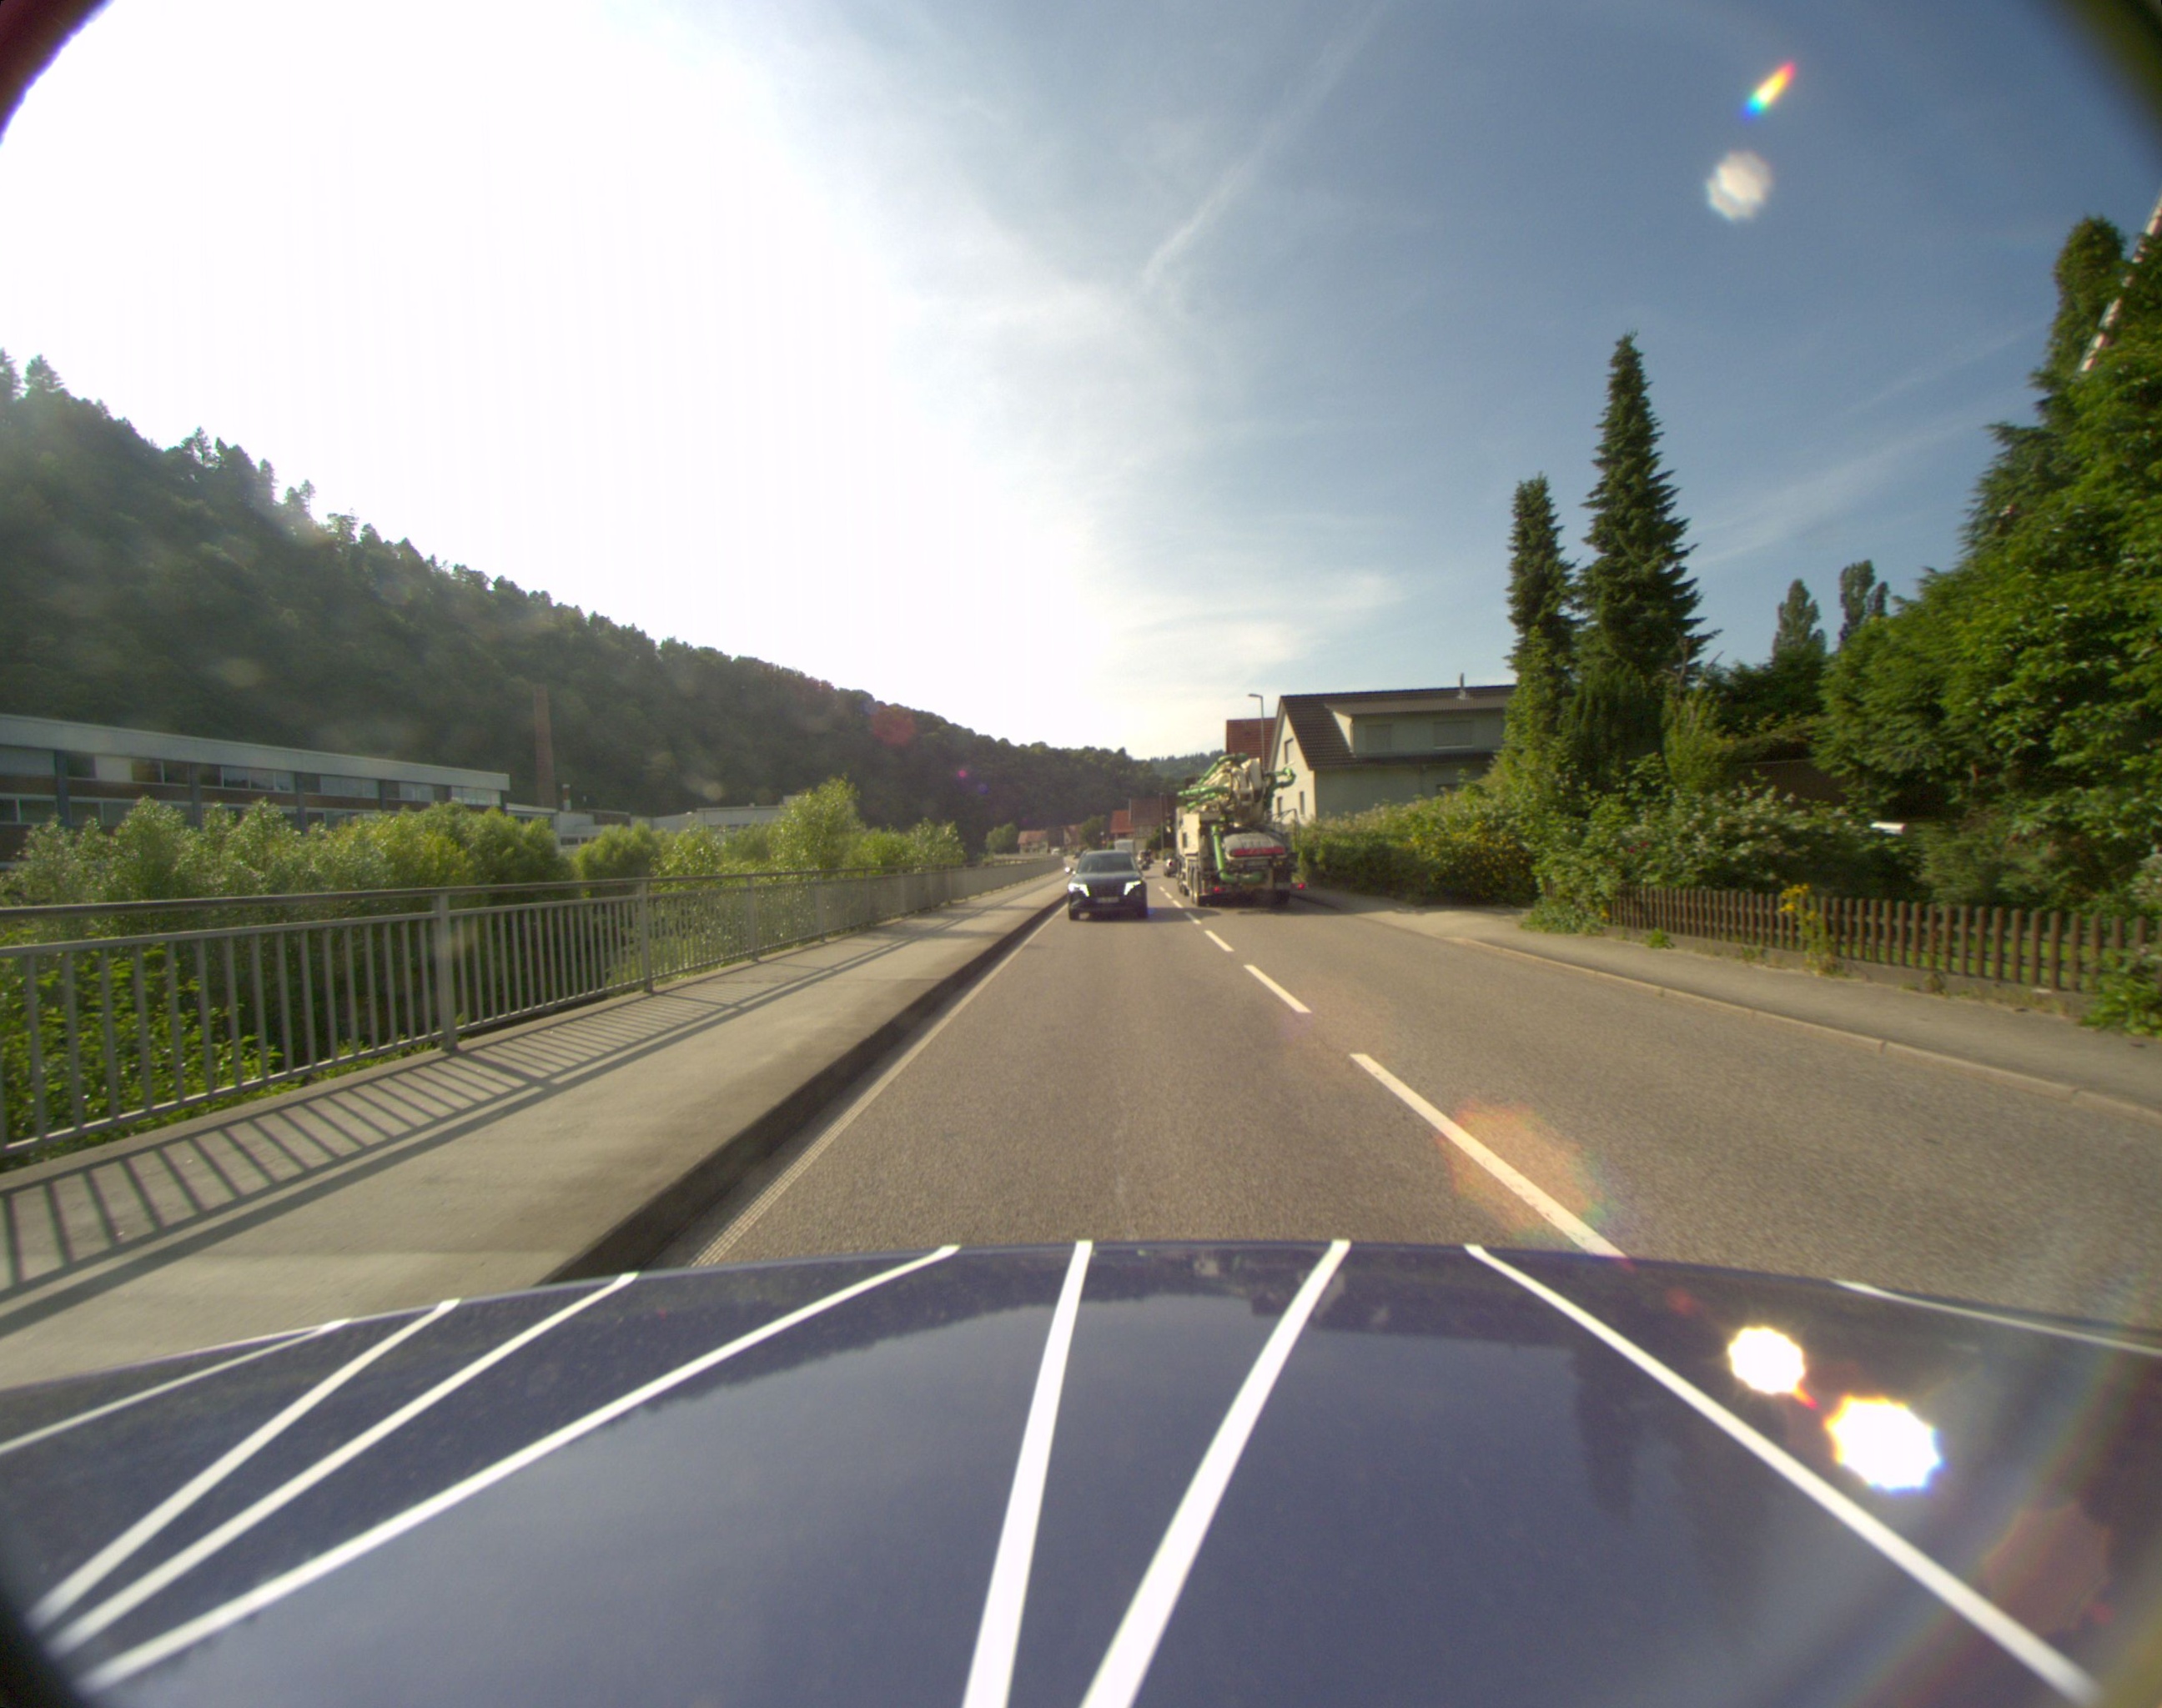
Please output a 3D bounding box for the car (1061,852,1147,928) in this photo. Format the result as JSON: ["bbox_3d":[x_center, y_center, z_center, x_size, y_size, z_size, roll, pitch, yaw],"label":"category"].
[{"bbox_3d":[0.462,0.798,19.030,1.649,1.639,3.998,-2,0,-5],"label":"car"}]

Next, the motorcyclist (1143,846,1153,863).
[{"bbox_3d":[5.952,0.041,67.619,0.827,1.549,0.628,-2,1,6],"label":"motorcyclist"}]

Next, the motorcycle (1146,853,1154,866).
[{"bbox_3d":[6.175,0.514,67.996,0.655,1.062,2.182,-2,1,5],"label":"motorcycle"}]

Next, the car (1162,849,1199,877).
[{"bbox_3d":[5.661,0.498,43.598,1.717,1.395,4.000,-3,1,3],"label":"car"}]

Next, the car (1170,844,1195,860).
[{"bbox_3d":[11.017,-0.249,82.351,1.889,1.510,4.235,-4,1,-2],"label":"car"}]

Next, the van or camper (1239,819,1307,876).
[{"bbox_3d":[9.509,-0.325,38.180,2.153,2.540,5.902,-3,1,4],"label":"van or camper"}]

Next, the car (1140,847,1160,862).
[{"bbox_3d":[7.460,0.050,82.116,1.633,1.476,4.002,-4,1,11],"label":"car"}]

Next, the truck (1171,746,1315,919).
[{"bbox_3d":[4.415,-0.549,23.213,2.584,3.909,11.307,-2,1,4],"label":"truck"}]

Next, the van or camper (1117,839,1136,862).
[{"bbox_3d":[6.216,-0.472,105.341,2.200,2.921,7.127,-4,0,1],"label":"van or camper"}]
